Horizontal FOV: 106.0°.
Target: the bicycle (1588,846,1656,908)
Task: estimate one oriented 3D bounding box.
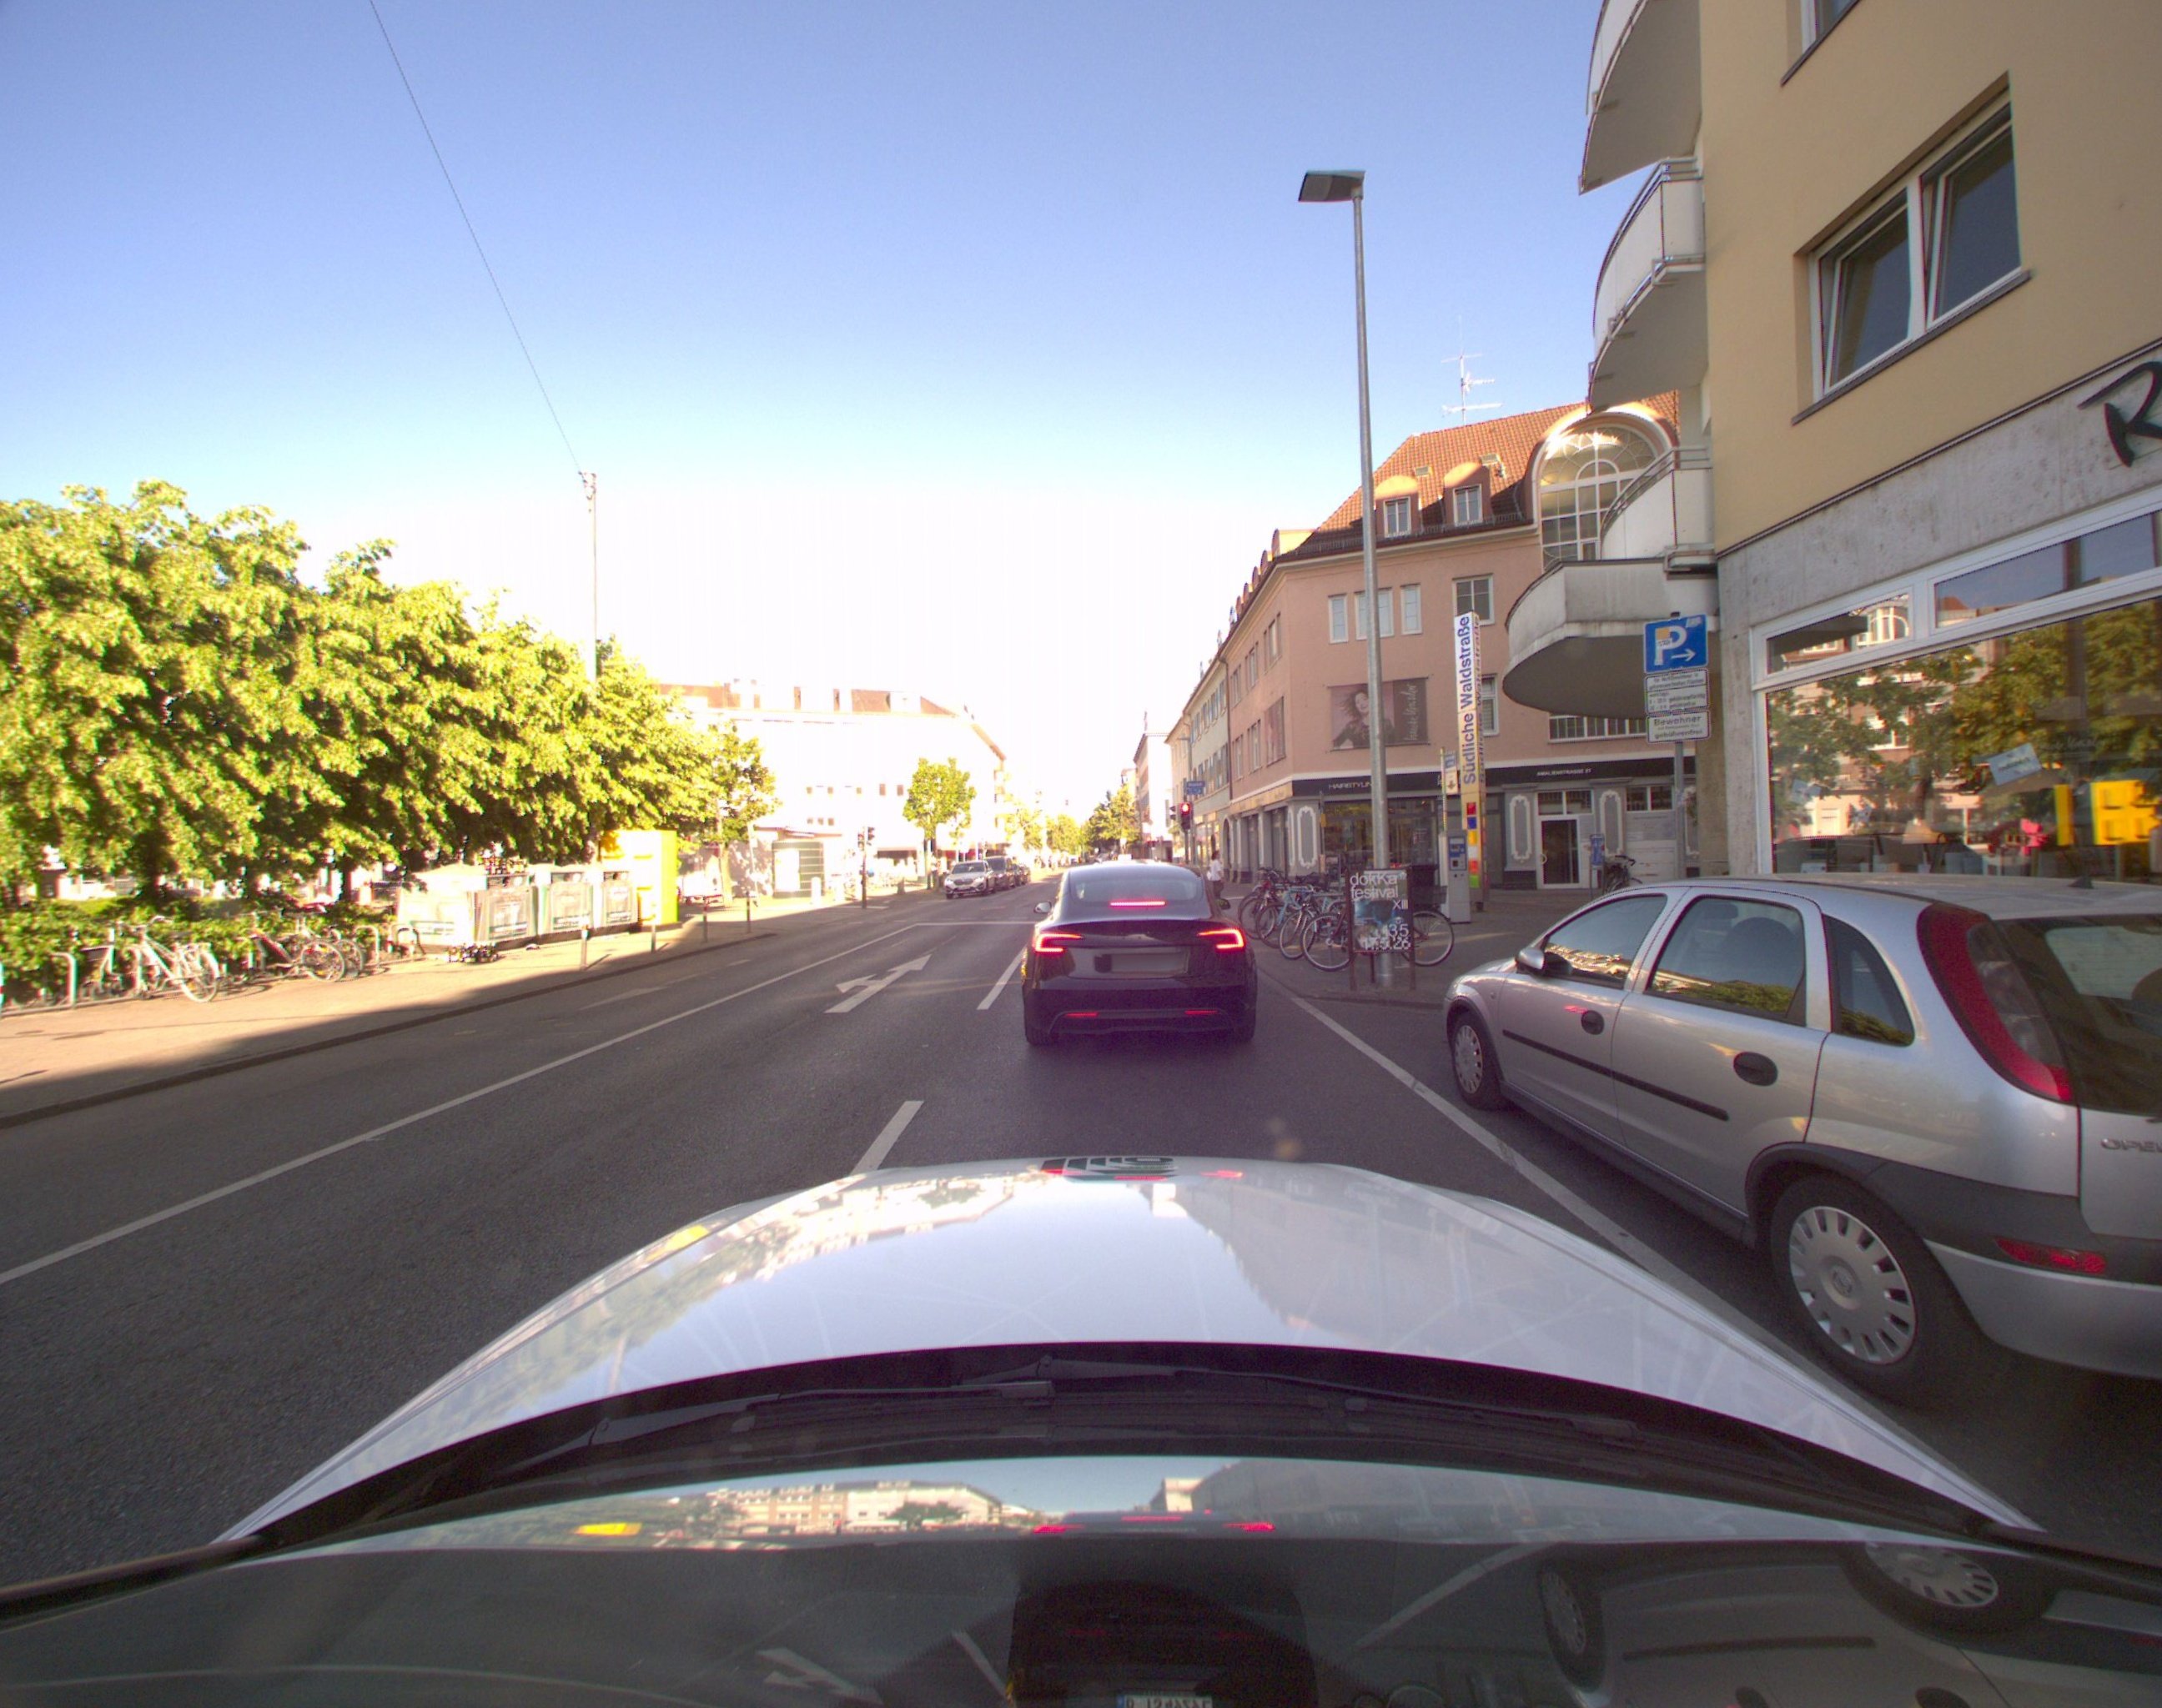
[{"bbox_3d":[11.072,0.444,16.733,0.653,1.199,2.223,-2,0,21],"label":"bicycle"}]

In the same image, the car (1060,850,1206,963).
[{"bbox_3d":[0.741,0.722,13.320,1.987,1.512,4.175,-1,0,0],"label":"car"}]

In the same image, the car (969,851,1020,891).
[{"bbox_3d":[-4.495,0.850,42.865,1.827,1.845,4.677,-5,0,2],"label":"car"}]

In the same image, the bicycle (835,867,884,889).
[{"bbox_3d":[-12.373,1.362,45.558,2.453,1.156,0.843,-1,0,0],"label":"bicycle"}]

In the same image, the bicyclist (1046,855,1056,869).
[{"bbox_3d":[-3.500,0.922,95.892,1.123,1.628,0.965,-1,0,-1],"label":"bicyclist"}]

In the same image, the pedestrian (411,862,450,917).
[{"bbox_3d":[-24.614,1.318,30.815,0.980,2.013,0.910,-2,-1,38],"label":"pedestrian"}]

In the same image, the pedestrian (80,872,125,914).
[{"bbox_3d":[-47.838,1.913,39.828,1.272,2.013,0.908,-1,0,13],"label":"pedestrian"}]

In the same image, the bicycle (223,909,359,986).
[{"bbox_3d":[-11.317,1.331,11.678,1.561,1.023,0.430,-1,0,3],"label":"bicycle"}]

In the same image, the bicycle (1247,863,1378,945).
[{"bbox_3d":[3.523,0.752,12.513,1.788,1.124,0.783,-3,-1,7],"label":"bicycle"}]

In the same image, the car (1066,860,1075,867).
[{"bbox_3d":[-2.478,2.153,187.378,1.988,1.637,3.998,-1,0,-1],"label":"car"}]

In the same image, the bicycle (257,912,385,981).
[{"bbox_3d":[-11.376,1.380,12.207,1.517,0.958,0.431,-1,1,3],"label":"bicycle"}]

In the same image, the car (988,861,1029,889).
[{"bbox_3d":[-4.360,1.229,49.688,1.988,1.410,4.672,-5,0,-1],"label":"car"}]

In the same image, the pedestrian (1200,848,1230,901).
[{"bbox_3d":[4.007,0.613,24.389,0.744,1.552,0.699,-1,0,1],"label":"pedestrian"}]

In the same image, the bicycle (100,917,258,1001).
[{"bbox_3d":[-11.453,1.326,10.358,1.590,1.018,0.430,-1,0,3],"label":"bicycle"}]

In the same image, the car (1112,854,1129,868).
[{"bbox_3d":[4.900,0.883,100.802,1.986,1.629,4.002,-1,0,2],"label":"car"}]

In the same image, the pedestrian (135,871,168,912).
[{"bbox_3d":[-46.817,1.885,41.017,1.205,2.013,0.910,-1,0,34],"label":"pedestrian"}]

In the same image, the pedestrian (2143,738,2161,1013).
[{"bbox_3d":[5.116,0.359,3.054,0.859,1.784,1.011,-3,-1,10],"label":"pedestrian"}]

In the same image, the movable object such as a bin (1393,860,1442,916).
[{"bbox_3d":[6.745,0.670,16.350,0.749,1.092,0.628,0,-1,3],"label":"movable object such as a bin"}]

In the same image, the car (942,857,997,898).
[{"bbox_3d":[-4.941,0.989,36.595,1.802,1.555,4.308,-5,0,-1],"label":"car"}]

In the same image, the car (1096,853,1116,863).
[{"bbox_3d":[5.127,0.841,167.681,3.974,2.013,2.000,-1,0,0],"label":"car"}]

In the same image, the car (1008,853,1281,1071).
[{"bbox_3d":[0.500,0.756,7.613,1.841,1.455,4.001,-1,0,2],"label":"car"}]

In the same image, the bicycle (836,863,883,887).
[{"bbox_3d":[-12.904,1.241,47.505,2.472,1.324,0.921,-1,0,-4],"label":"bicycle"}]

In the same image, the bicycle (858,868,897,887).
[{"bbox_3d":[-13.163,1.512,52.698,2.318,1.156,0.841,-1,0,-4],"label":"bicycle"}]

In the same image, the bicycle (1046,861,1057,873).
[{"bbox_3d":[-3.474,1.537,95.796,1.108,1.344,3.998,-1,0,-1],"label":"bicycle"}]

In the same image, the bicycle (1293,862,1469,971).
[{"bbox_3d":[3.639,0.750,10.025,1.876,1.193,0.693,-3,0,7],"label":"bicycle"}]

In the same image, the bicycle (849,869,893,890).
[{"bbox_3d":[-12.947,1.568,50.263,2.528,1.156,0.841,-1,0,-4],"label":"bicycle"}]

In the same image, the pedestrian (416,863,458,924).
[{"bbox_3d":[-22.074,1.335,27.915,0.980,2.013,0.910,-2,-1,38],"label":"pedestrian"}]

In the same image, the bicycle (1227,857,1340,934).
[{"bbox_3d":[3.623,0.738,14.721,1.851,1.258,0.834,-3,-1,7],"label":"bicycle"}]

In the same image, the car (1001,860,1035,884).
[{"bbox_3d":[-4.390,1.254,57.285,1.988,1.436,4.672,-5,0,-1],"label":"car"}]

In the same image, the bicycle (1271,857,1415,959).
[{"bbox_3d":[3.543,0.724,11.160,1.713,1.268,0.792,-3,-1,7],"label":"bicycle"}]

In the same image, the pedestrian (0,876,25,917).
[{"bbox_3d":[-54.133,2.146,40.922,1.386,2.014,0.909,-3,-1,20],"label":"pedestrian"}]

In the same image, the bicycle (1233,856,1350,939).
[{"bbox_3d":[3.508,0.709,13.693,1.738,1.267,0.782,-3,-1,4],"label":"bicycle"}]

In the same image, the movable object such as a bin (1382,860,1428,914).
[{"bbox_3d":[6.754,0.675,16.988,0.730,1.092,0.628,0,-1,3],"label":"movable object such as a bin"}]

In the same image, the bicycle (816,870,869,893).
[{"bbox_3d":[-12.580,1.435,43.028,2.497,1.156,0.843,-1,0,0],"label":"bicycle"}]

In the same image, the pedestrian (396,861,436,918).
[{"bbox_3d":[-24.455,1.295,29.949,0.980,2.013,0.910,-2,-1,38],"label":"pedestrian"}]

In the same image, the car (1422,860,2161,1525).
[{"bbox_3d":[2.971,0.731,3.531,1.607,1.382,3.645,0,0,2],"label":"car"}]
